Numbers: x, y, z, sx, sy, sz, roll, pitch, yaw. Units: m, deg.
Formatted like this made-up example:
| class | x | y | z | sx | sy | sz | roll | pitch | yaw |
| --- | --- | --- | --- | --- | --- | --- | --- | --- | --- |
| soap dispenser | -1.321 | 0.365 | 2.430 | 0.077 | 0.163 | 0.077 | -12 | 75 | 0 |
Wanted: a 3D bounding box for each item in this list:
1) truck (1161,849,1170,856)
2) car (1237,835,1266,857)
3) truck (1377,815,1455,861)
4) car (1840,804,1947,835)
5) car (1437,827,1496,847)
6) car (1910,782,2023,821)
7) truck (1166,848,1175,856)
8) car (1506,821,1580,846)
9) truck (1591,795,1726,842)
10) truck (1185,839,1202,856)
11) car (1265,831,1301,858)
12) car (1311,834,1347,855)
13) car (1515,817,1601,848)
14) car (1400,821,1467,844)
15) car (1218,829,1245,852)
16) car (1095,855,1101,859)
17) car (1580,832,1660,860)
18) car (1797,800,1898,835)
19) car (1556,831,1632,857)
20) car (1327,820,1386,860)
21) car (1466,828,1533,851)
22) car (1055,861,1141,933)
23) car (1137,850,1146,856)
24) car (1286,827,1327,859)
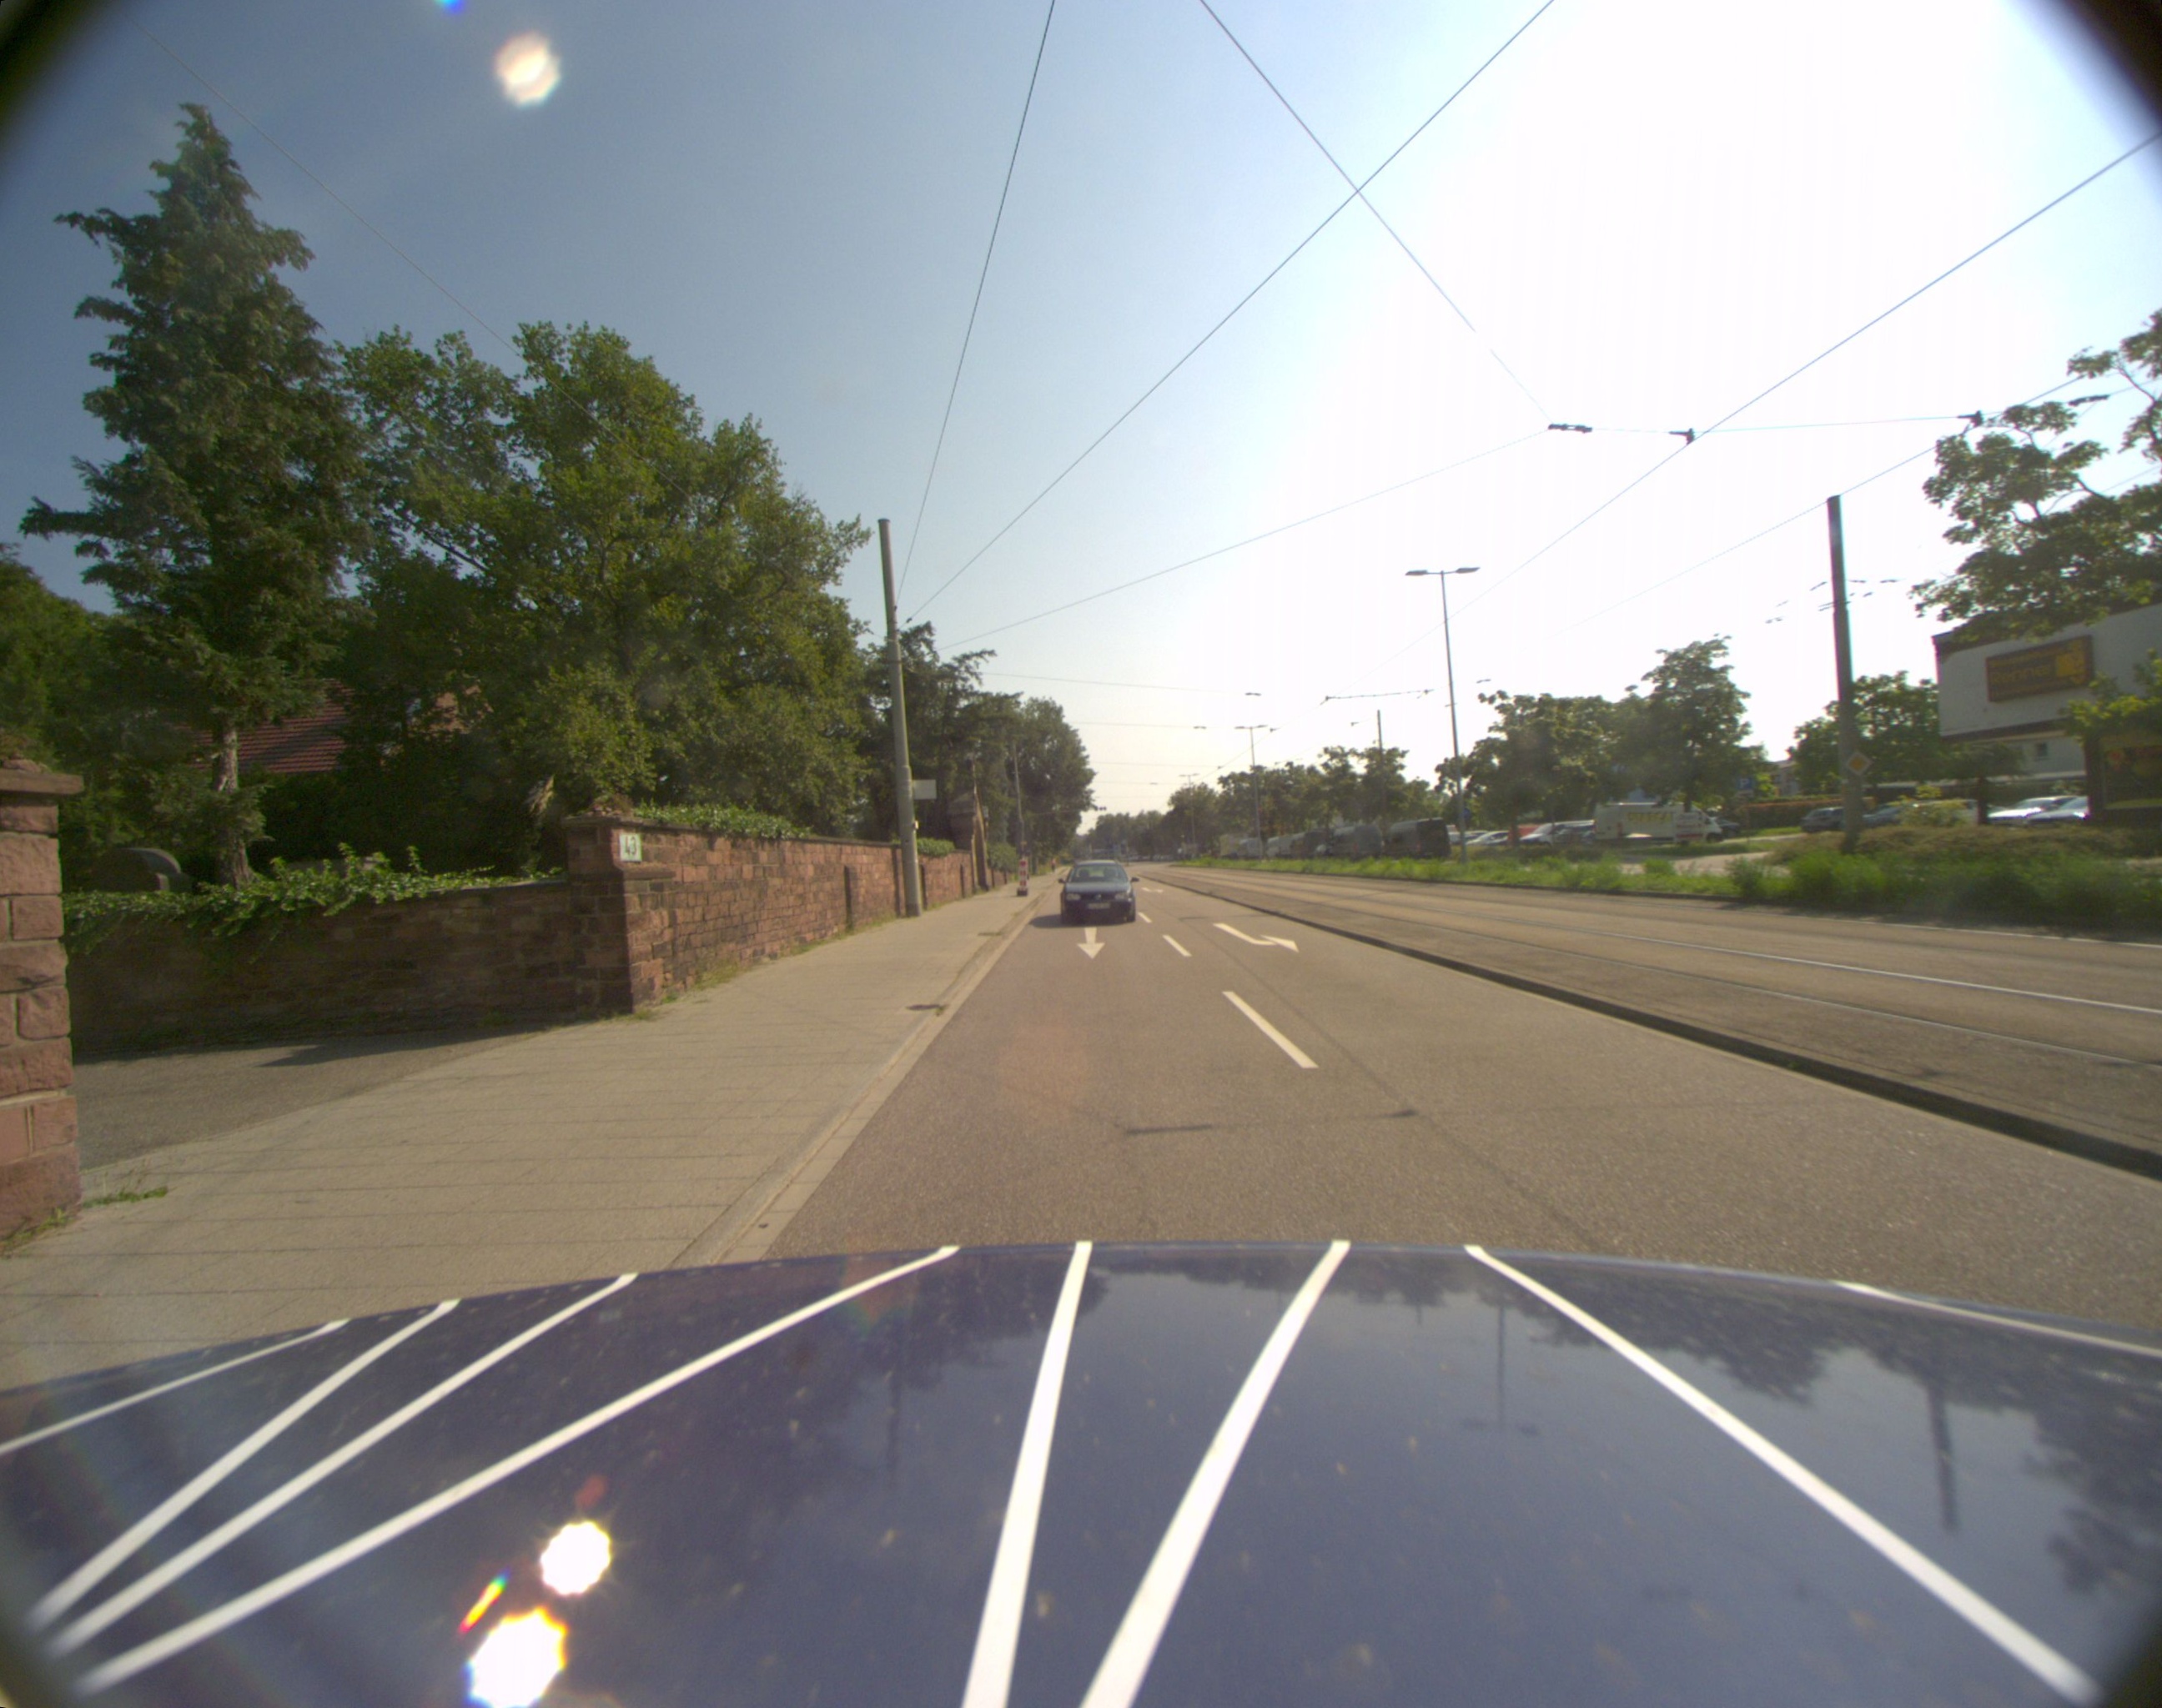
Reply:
| class | x | y | z | sx | sy | sz | roll | pitch | yaw |
| --- | --- | --- | --- | --- | --- | --- | --- | --- | --- |
| truck | 20.534 | -0.358 | 184.214 | 1.691 | 1.665 | 3.655 | -2 | 0 | 1 |
| car | 20.362 | -0.931 | 90.870 | 2.148 | 2.444 | 4.831 | -2 | 0 | -1 |
| truck | 20.164 | -0.912 | 46.017 | 2.086 | 2.533 | 5.738 | -2 | 0 | 0 |
| car | 42.945 | -1.800 | 40.223 | 3.713 | 1.335 | 1.491 | -4 | 0 | 8 |
| car | 31.137 | -1.336 | 61.486 | 3.933 | 1.441 | 1.633 | -2 | 1 | -1 |
| car | 44.116 | -2.614 | 37.892 | 3.456 | 1.493 | 1.876 | -6 | 0 | -3 |
| truck | 20.544 | -0.494 | 174.117 | 1.691 | 1.665 | 3.655 | -2 | 0 | 1 |
| car | 31.053 | -1.380 | 51.134 | 3.933 | 1.509 | 1.633 | -2 | 1 | -1 |
| truck | 30.867 | -1.870 | 40.714 | 5.504 | 2.160 | 2.259 | -2 | 1 | -1 |
| truck | 21.295 | -1.169 | 143.675 | 2.278 | 3.103 | 8.788 | -2 | 0 | 3 |
| car | 20.322 | -0.966 | 76.577 | 2.137 | 2.571 | 5.630 | -2 | 0 | 1 |
| car | 20.262 | -0.731 | 62.264 | 1.749 | 1.543 | 3.834 | -4 | 0 | 3 |
| car | 30.309 | -1.332 | 48.374 | 4.410 | 1.774 | 1.633 | -2 | 1 | -1 |
| car | 32.420 | -1.972 | 69.998 | 5.198 | 1.914 | 2.052 | -2 | 1 | -1 |
| car | 19.824 | -1.718 | 100.408 | 2.130 | 2.789 | 7.231 | -2 | 0 | 1 |
| car | 5.531 | 1.030 | 248.152 | 1.726 | 1.317 | 4.000 | -2 | 0 | 0 |
| car | 30.615 | -0.467 | 43.204 | 3.413 | 1.418 | 1.633 | -2 | 1 | -1 |
| car | 43.866 | -2.065 | 43.563 | 3.811 | 1.758 | 1.759 | -2 | 1 | 5 |
| car | 30.589 | -0.590 | 45.390 | 3.413 | 1.418 | 1.633 | -2 | 1 | -1 |
| car | 20.194 | -0.983 | 56.034 | 1.993 | 2.571 | 6.467 | -5 | 0 | 2 |
| car | 30.955 | -1.055 | 56.237 | 4.169 | 1.455 | 1.624 | -3 | 0 | -6 |
| car | 0.409 | 0.940 | 18.117 | 1.776 | 1.416 | 3.935 | -2 | 0 | 1 |
| car | 15.736 | -0.293 | 197.889 | 1.929 | 1.510 | 3.949 | -2 | 0 | 3 |
| car | 20.220 | -0.925 | 68.347 | 1.826 | 2.571 | 5.910 | -5 | 0 | 2 |
